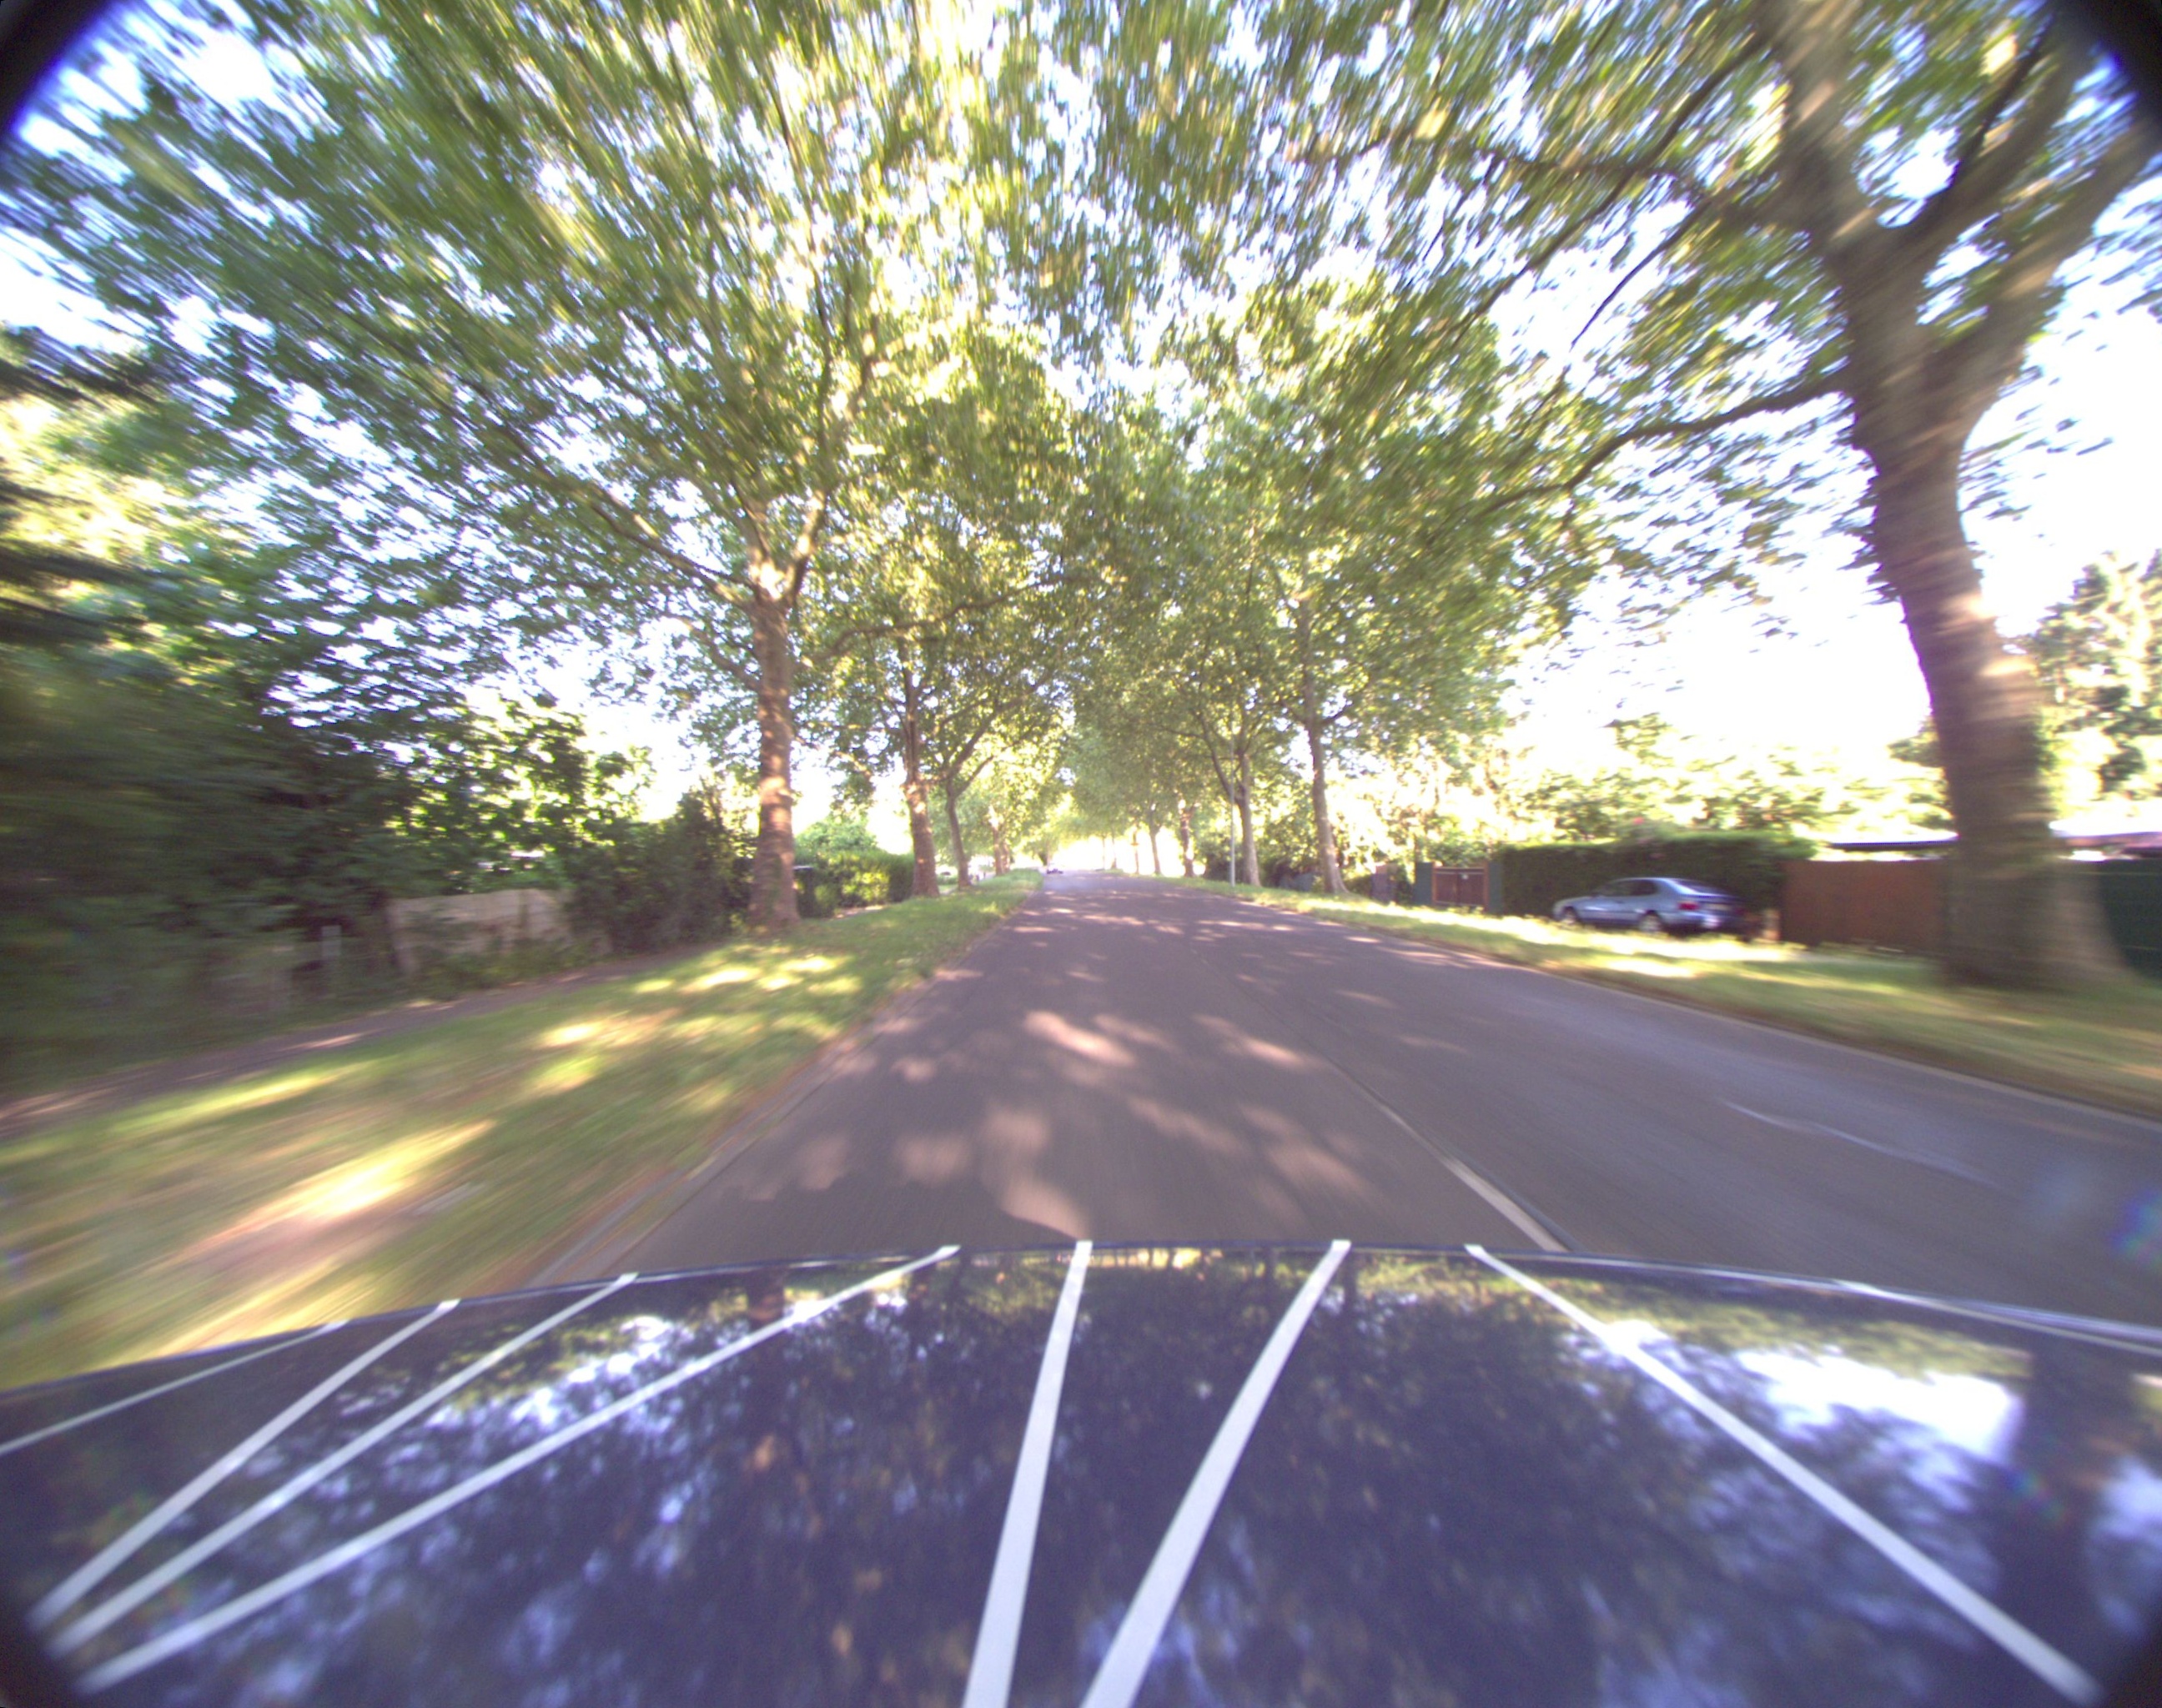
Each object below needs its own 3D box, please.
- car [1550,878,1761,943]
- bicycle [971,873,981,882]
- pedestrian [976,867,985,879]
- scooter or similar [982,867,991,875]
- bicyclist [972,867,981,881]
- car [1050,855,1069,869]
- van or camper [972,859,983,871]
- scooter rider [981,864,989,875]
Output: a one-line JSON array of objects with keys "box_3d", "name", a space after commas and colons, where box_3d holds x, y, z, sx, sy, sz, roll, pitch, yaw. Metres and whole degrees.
[{"box_3d": [13.253, 1.245, 17.875, 1.757, 1.296, 3.999, 0, -1, -4], "name": "car"}, {"box_3d": [-10.582, 2.381, 76.725, 0.553, 0.812, 1.889, -2, 1, 4], "name": "bicycle"}, {"box_3d": [-13.854, 2.590, 104.784, 0.843, 1.567, 0.786, -1, 1, 30], "name": "pedestrian"}, {"box_3d": [-14.401, 2.561, 115.732, 0.340, 1.128, 1.602, -1, 1, 33], "name": "scooter or similar"}, {"box_3d": [-10.587, 2.000, 76.801, 0.735, 1.358, 0.771, -2, 1, 6], "name": "bicyclist"}, {"box_3d": [-2.627, 0.944, 90.749, 1.999, 1.655, 3.998, -2, 0, -5], "name": "car"}, {"box_3d": [-25.694, 2.624, 188.243, 2.388, 2.783, 5.680, -2, 1, -9], "name": "van or camper"}, {"box_3d": [-14.629, 2.358, 115.532, 0.782, 1.567, 0.846, -3, -1, 40], "name": "scooter rider"}]
